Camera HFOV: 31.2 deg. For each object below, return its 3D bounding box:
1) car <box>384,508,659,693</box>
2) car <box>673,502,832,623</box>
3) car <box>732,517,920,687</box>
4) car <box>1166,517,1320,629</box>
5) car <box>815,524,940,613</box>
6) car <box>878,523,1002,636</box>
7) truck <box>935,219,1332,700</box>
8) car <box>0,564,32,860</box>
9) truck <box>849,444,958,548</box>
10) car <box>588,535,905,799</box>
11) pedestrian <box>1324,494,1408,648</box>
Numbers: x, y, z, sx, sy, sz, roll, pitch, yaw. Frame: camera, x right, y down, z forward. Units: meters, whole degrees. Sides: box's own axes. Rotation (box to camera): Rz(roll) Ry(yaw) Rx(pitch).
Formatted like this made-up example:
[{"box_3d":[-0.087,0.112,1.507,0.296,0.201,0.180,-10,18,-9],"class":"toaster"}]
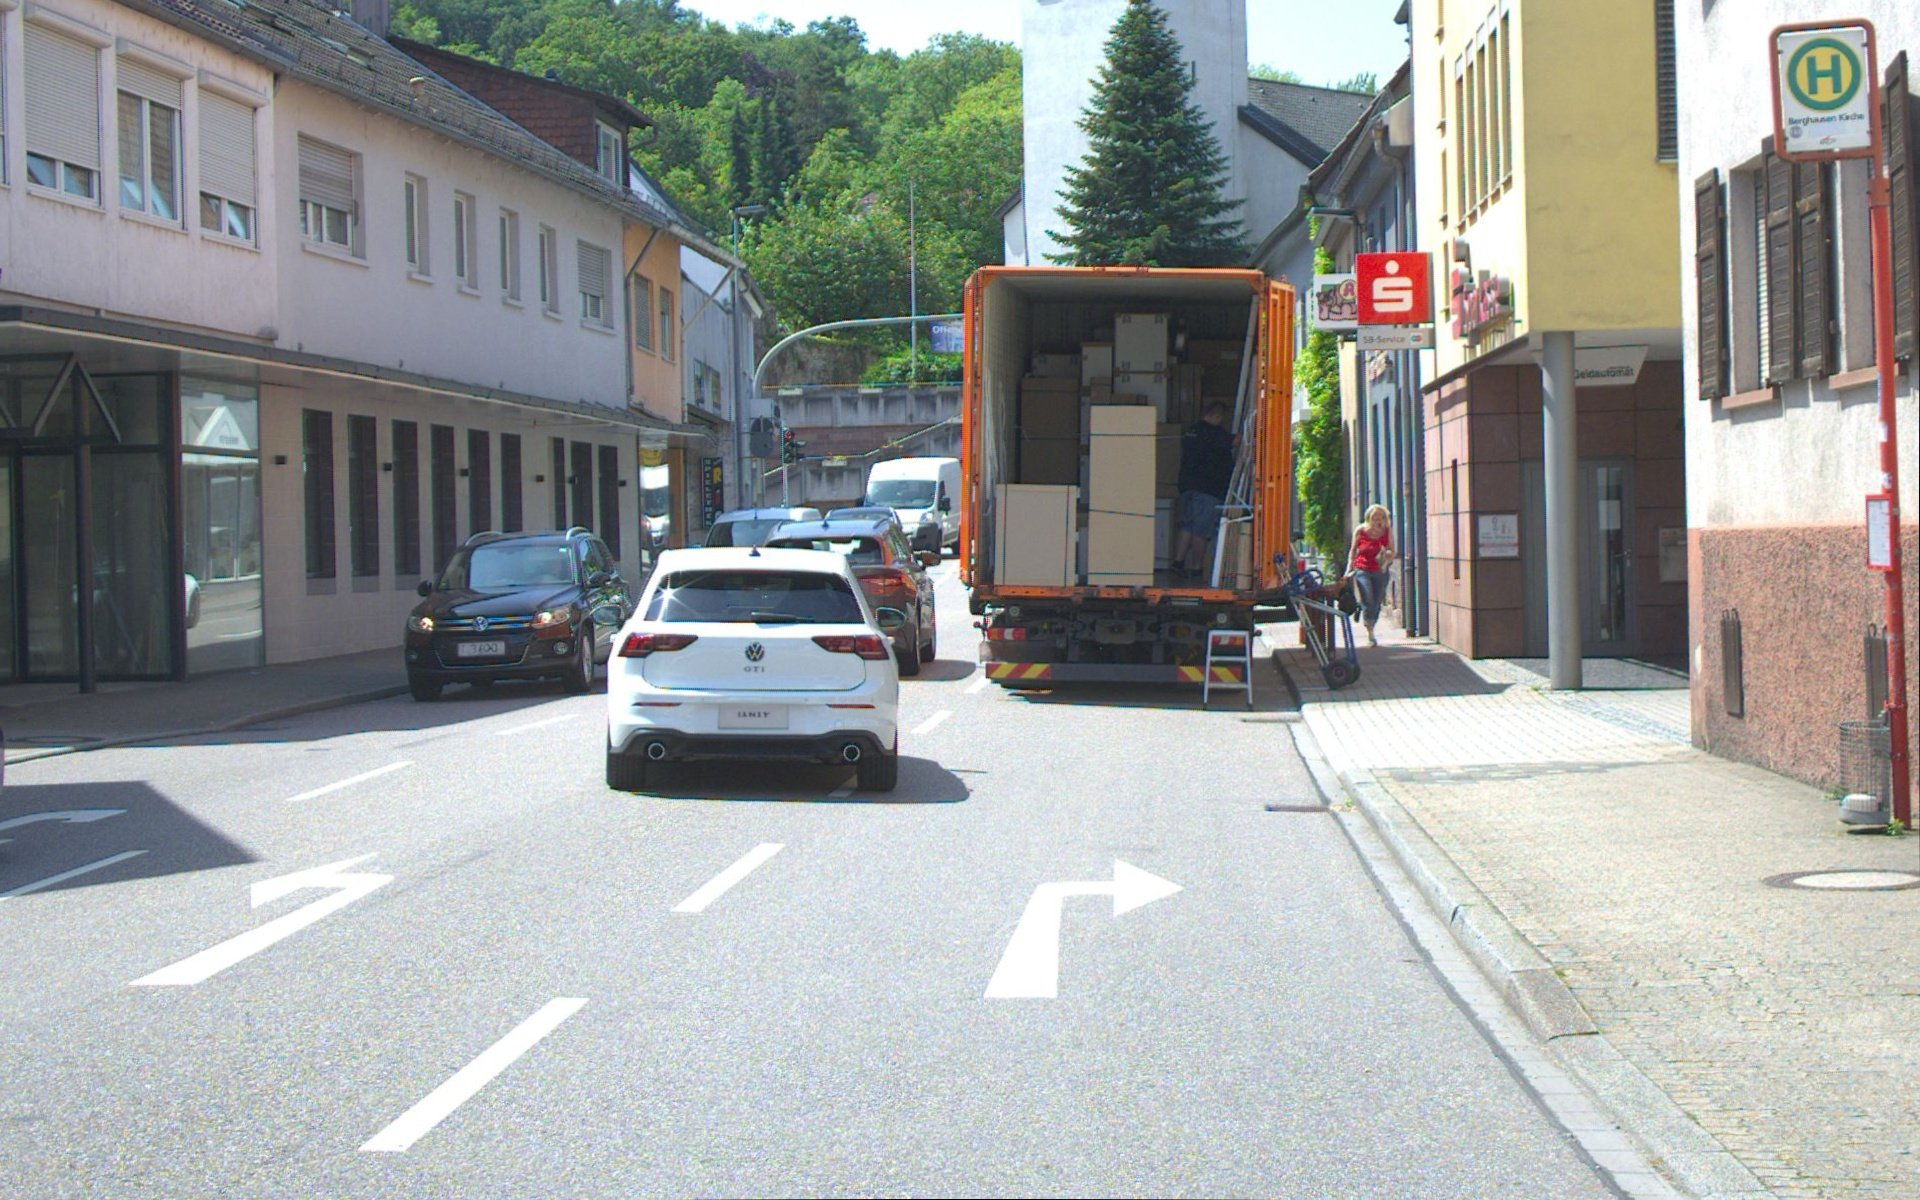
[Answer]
[{"box_3d":[-4.466,-0.045,35.614,1.692,1.693,4.111,-2,2,9],"class":"car"},{"box_3d":[-3.260,-0.643,54.867,1.802,1.773,4.704,-2,1,5],"class":"car"},{"box_3d":[-1.364,0.012,36.220,1.815,1.623,4.000,-2,0,-1],"class":"car"},{"box_3d":[4.116,-0.393,50.596,1.815,1.514,4.000,-2,0,-1],"class":"car"},{"box_3d":[-1.619,-0.629,68.799,1.994,1.645,3.999,-2,0,5],"class":"car"},{"box_3d":[-0.337,-0.320,53.856,1.815,1.623,4.000,-2,0,-1],"class":"car"},{"box_3d":[1.660,-1.281,35.384,3.367,4.156,9.519,-2,0,1],"class":"truck"},{"box_3d":[-5.852,0.612,15.620,1.794,1.487,4.421,-2,0,3],"class":"car"},{"box_3d":[-1.408,-2.622,88.079,2.118,2.466,5.735,-2,0,5],"class":"truck"},{"box_3d":[-1.260,0.373,21.770,1.815,1.514,4.000,0,0,-1],"class":"car"},{"box_3d":[4.702,-0.332,39.840,0.769,1.736,0.871,-2,0,-2],"class":"pedestrian"}]
